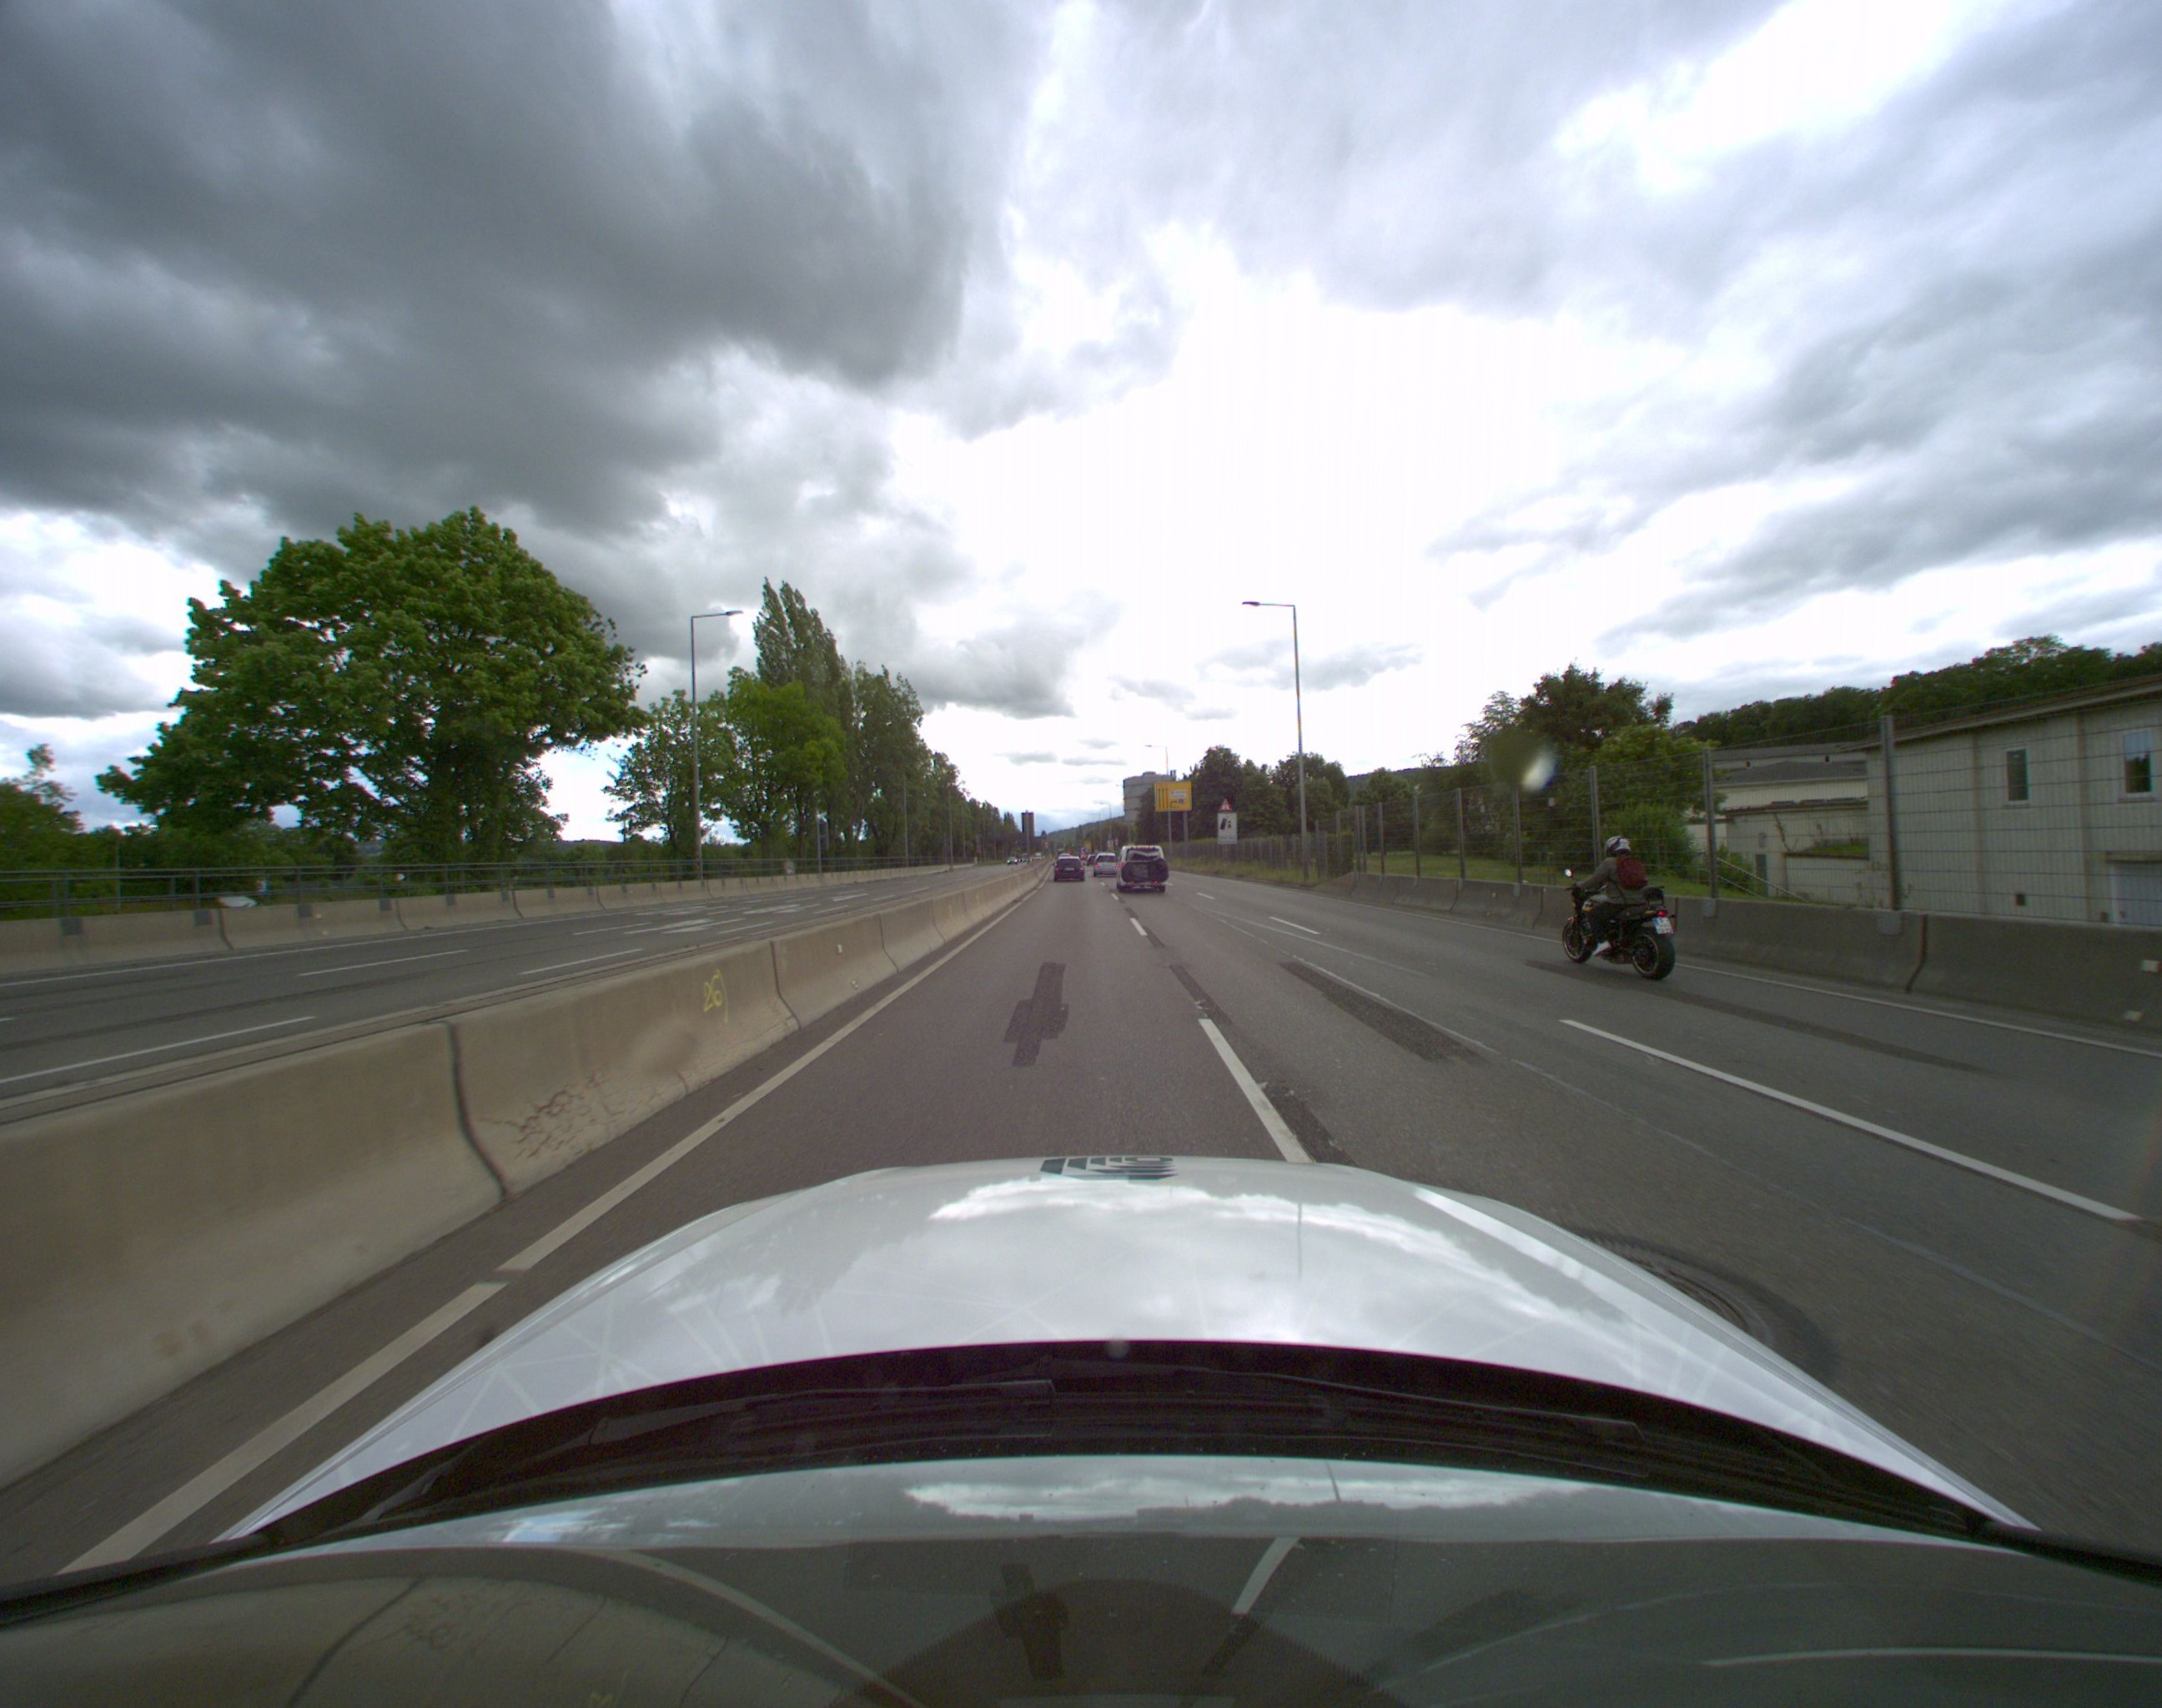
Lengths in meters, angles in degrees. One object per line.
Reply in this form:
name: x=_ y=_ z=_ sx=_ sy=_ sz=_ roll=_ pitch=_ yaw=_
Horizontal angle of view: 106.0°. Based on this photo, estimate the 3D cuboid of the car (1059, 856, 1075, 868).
car: x=-1.979 y=1.109 z=114.625 sx=1.986 sy=1.673 sz=4.002 roll=0 pitch=-1 yaw=2

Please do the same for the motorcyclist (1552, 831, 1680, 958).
motorcyclist: x=6.621 y=0.482 z=10.138 sx=0.910 sy=1.477 sz=0.965 roll=-1 pitch=0 yaw=-4

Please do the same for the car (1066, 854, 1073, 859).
car: x=-3.438 y=0.745 z=241.891 sx=1.989 sy=1.654 sz=3.995 roll=-1 pitch=0 yaw=-4

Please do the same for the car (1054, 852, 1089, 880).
car: x=-0.501 y=0.675 z=46.565 sx=1.808 sy=1.434 sz=4.066 roll=-3 pitch=0 yaw=1

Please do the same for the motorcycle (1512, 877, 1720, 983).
motorcycle: x=6.619 y=0.881 z=10.329 sx=0.742 sy=1.083 sz=2.661 roll=-2 pitch=0 yaw=-3

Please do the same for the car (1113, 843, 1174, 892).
car: x=2.500 y=0.513 z=33.743 sx=1.987 sy=1.859 sz=5.638 roll=0 pitch=0 yaw=-1

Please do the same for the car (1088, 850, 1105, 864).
car: x=1.929 y=0.357 z=103.262 sx=1.987 sy=1.669 sz=4.000 roll=-2 pitch=0 yaw=0

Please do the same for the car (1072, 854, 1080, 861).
car: x=-1.204 y=0.961 z=201.221 sx=1.988 sy=1.654 sz=3.997 roll=-1 pitch=0 yaw=-2

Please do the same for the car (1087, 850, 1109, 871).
car: x=1.568 y=0.613 z=76.341 sx=1.987 sy=1.860 sz=3.999 roll=-2 pitch=0 yaw=-1

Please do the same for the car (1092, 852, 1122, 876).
car: x=1.733 y=0.630 z=54.828 sx=1.914 sy=1.489 sz=4.065 roll=-1 pitch=0 yaw=0

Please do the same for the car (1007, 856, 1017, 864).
car: x=-12.252 y=1.040 z=144.760 sx=1.730 sy=1.374 sz=3.610 roll=-1 pitch=0 yaw=-5
